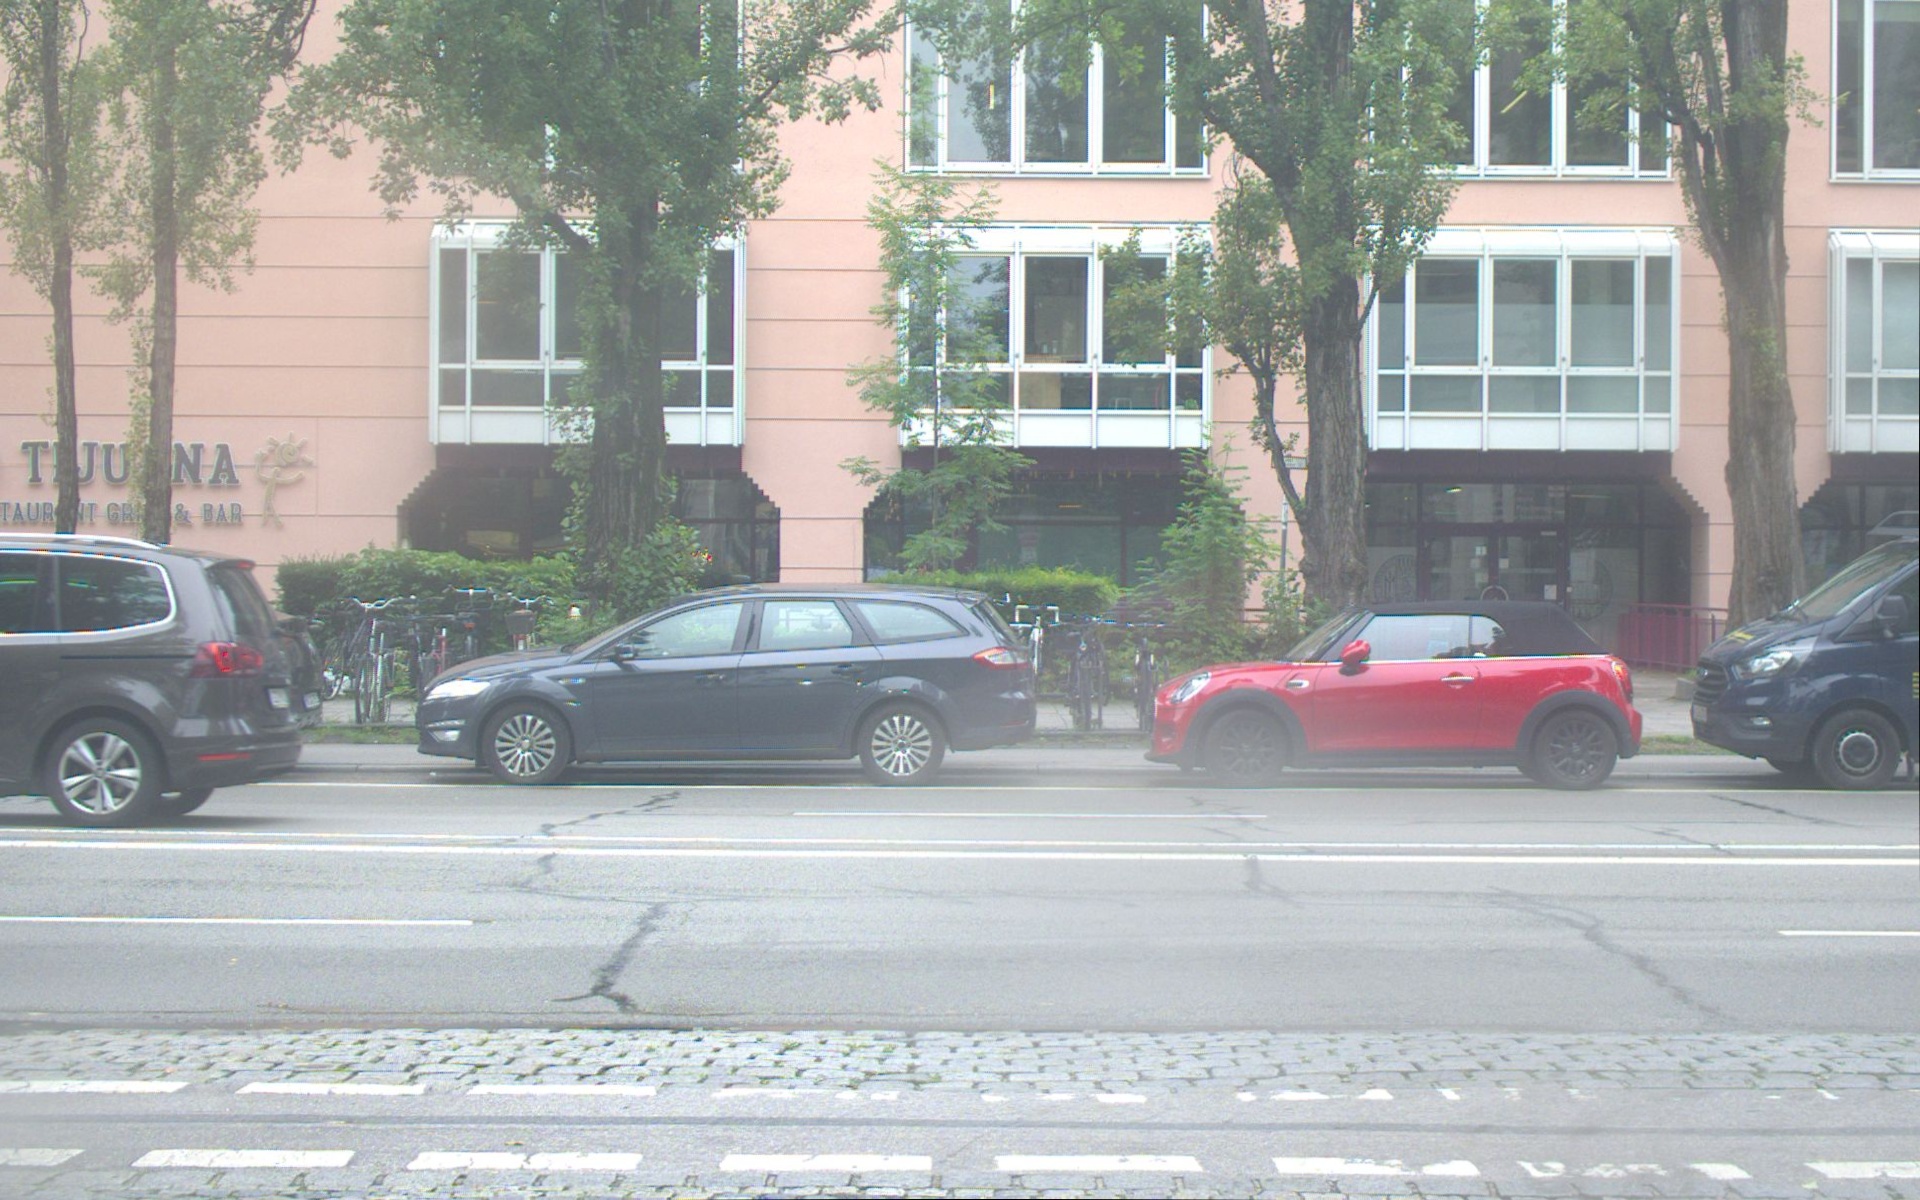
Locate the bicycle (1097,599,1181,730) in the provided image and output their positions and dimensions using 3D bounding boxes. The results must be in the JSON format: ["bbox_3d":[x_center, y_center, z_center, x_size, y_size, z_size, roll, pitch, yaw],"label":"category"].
[{"bbox_3d":[1.607,0.567,31.085,0.674,1.120,1.742,0,1,0],"label":"bicycle"}]

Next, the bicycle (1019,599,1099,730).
[{"bbox_3d":[0.884,0.568,31.065,0.674,1.120,1.742,0,1,0],"label":"bicycle"}]

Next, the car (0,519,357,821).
[{"bbox_3d":[-6.237,0.392,20.807,4.799,1.716,2.000,1,0,0],"label":"car"}]

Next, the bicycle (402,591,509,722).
[{"bbox_3d":[-4.553,0.496,31.141,0.674,1.120,1.989,0,1,0],"label":"bicycle"}]

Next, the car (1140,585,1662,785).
[{"bbox_3d":[3.342,0.633,26.615,3.861,1.444,1.678,1,1,2],"label":"car"}]

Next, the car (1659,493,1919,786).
[{"bbox_3d":[8.413,0.300,26.814,5.479,2.189,2.024,0,1,0],"label":"car"}]

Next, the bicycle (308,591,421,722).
[{"bbox_3d":[-5.385,0.492,31.170,0.674,1.120,1.989,0,1,0],"label":"bicycle"}]

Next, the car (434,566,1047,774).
[{"bbox_3d":[-1.656,0.518,26.813,4.608,1.523,1.794,0,1,0],"label":"car"}]
